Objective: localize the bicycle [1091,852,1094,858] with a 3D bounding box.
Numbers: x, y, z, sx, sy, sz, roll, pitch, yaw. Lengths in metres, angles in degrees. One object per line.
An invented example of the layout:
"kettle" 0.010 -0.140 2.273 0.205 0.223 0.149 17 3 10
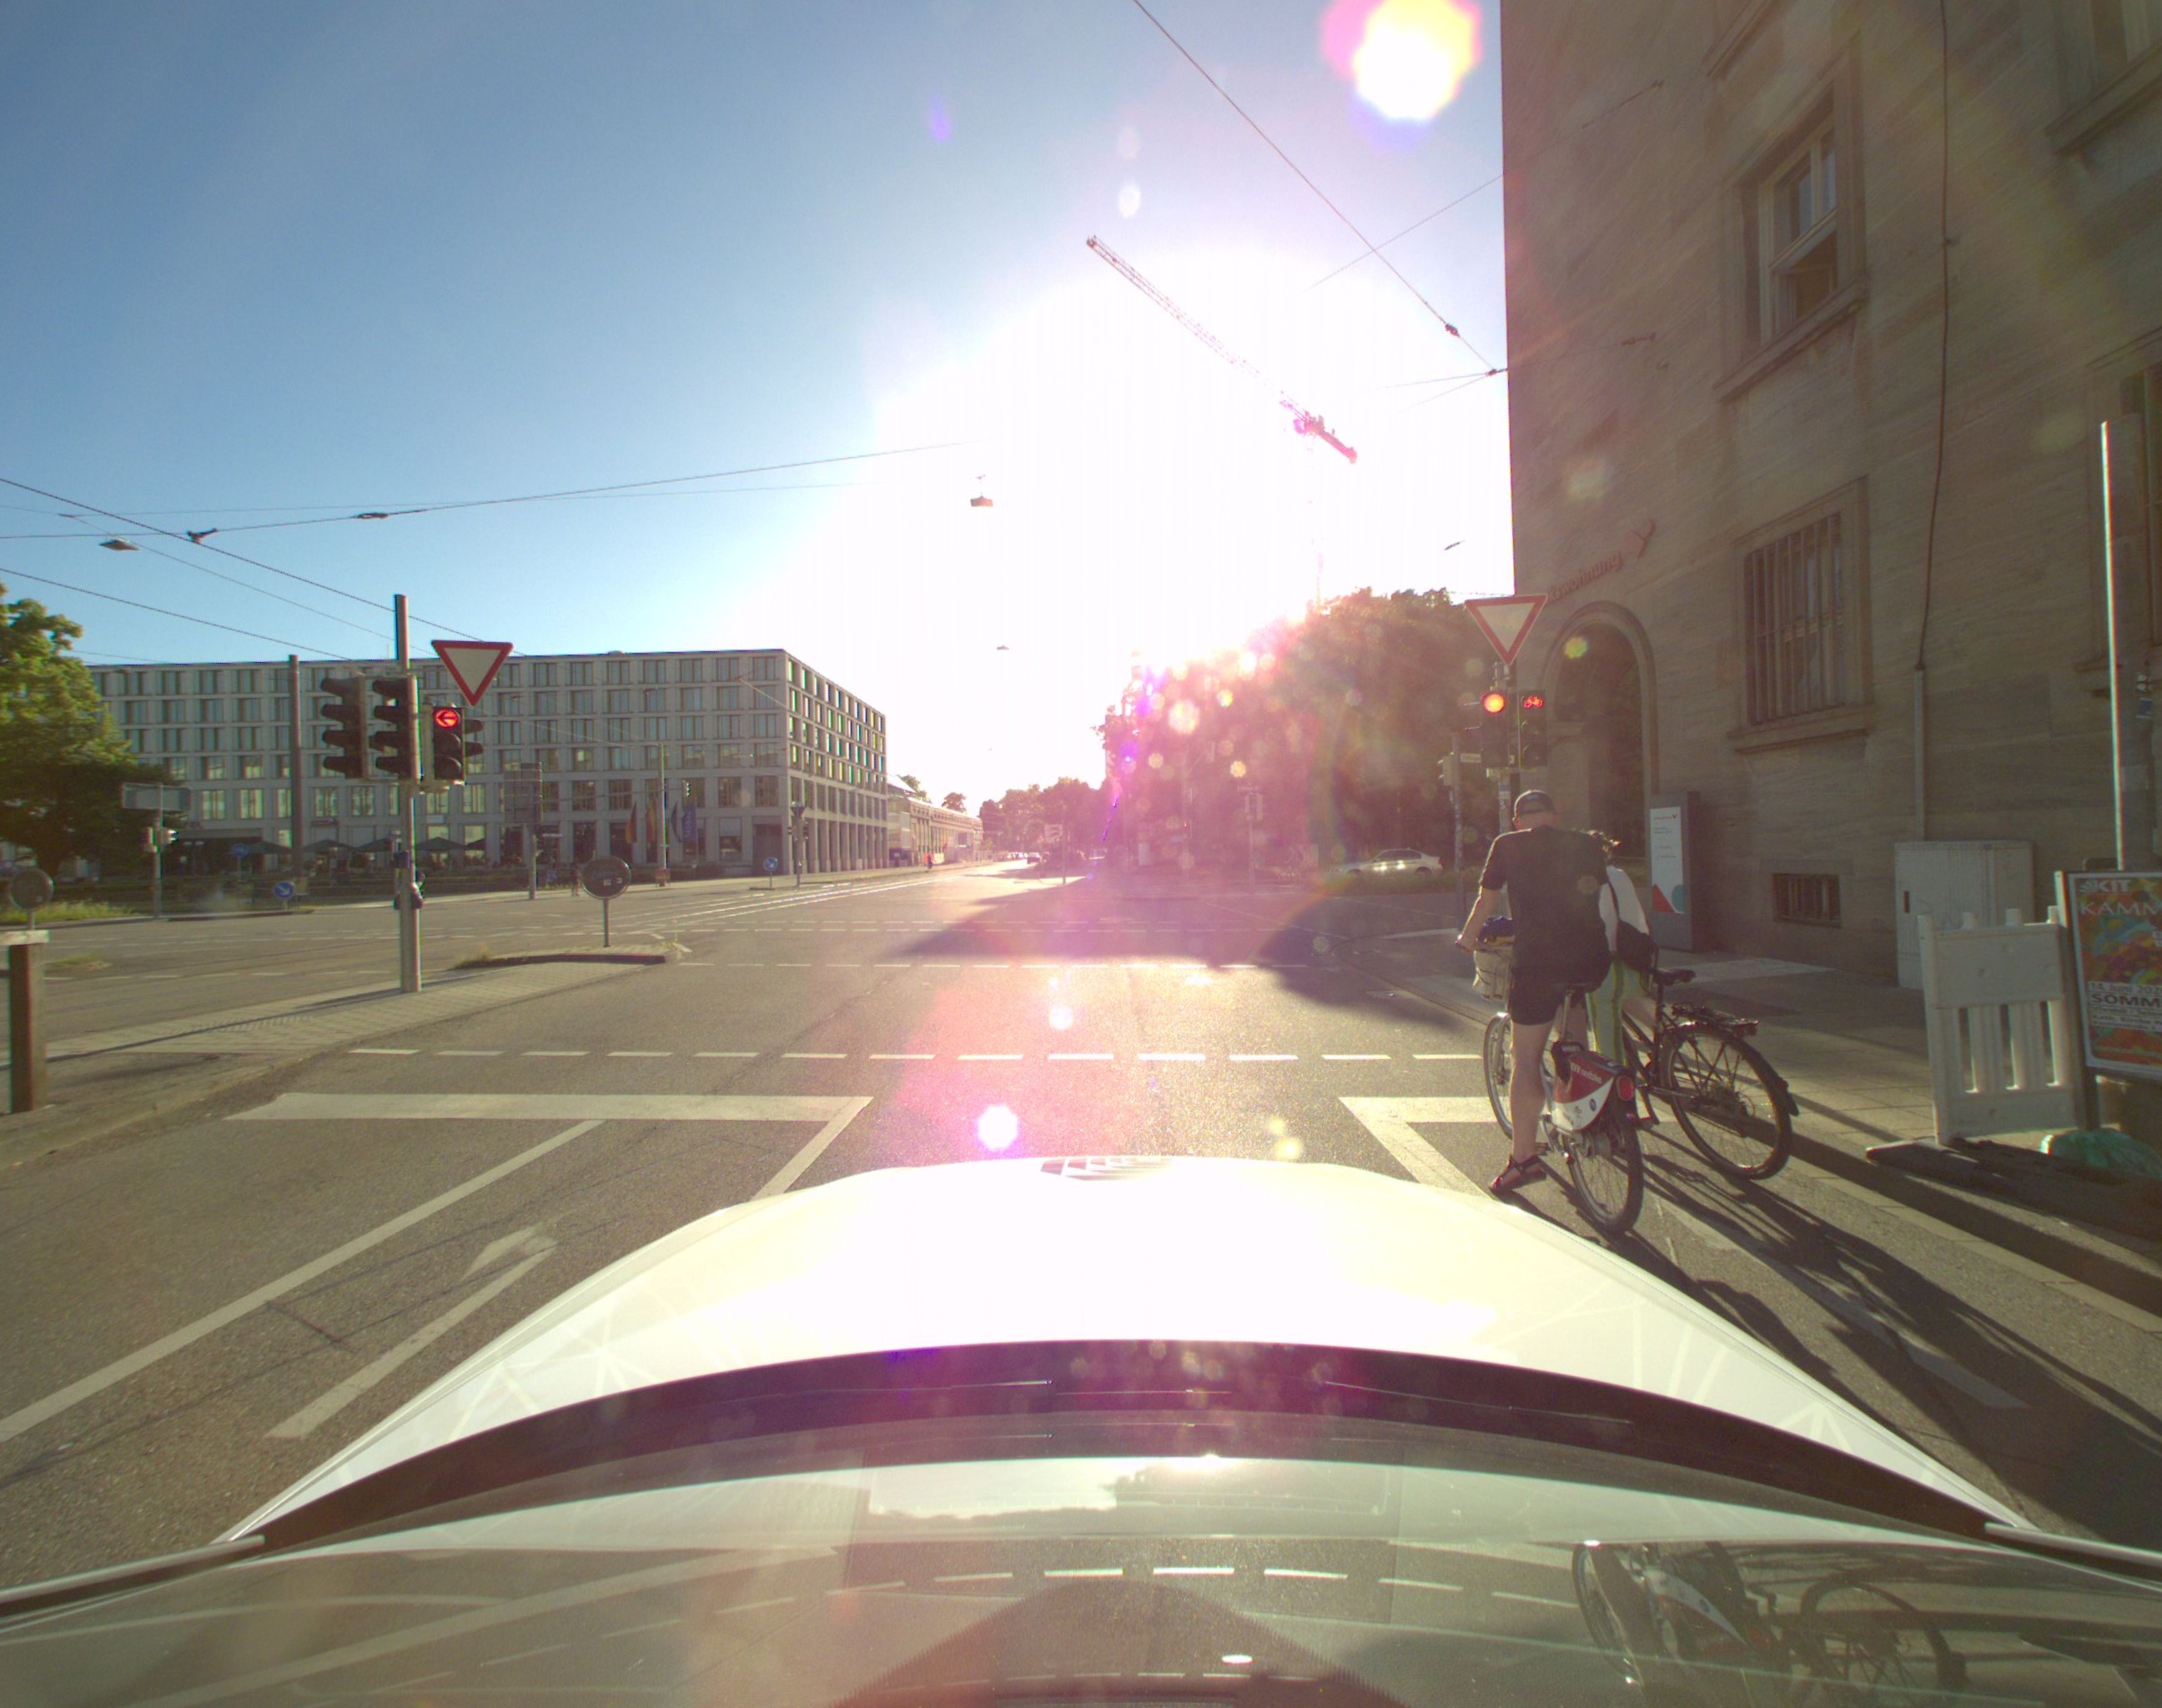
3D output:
"bicycle" 2.320 0.188 159.175 0.573 1.077 1.831 -2 0 1

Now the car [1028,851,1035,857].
"car" -13.390 0.023 220.857 1.688 1.718 4.245 0 -1 -1

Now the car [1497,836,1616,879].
"car" 19.220 0.144 33.019 3.835 1.611 1.650 -2 0 1

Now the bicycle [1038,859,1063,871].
"bicycle" -2.565 0.907 67.702 1.996 0.891 0.655 -4 -1 29

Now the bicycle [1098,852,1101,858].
"bicycle" 3.623 0.179 159.359 0.573 1.077 1.831 -2 0 1

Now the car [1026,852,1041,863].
"car" -6.496 0.523 111.663 1.654 1.455 4.432 -1 0 1

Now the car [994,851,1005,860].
"car" -15.656 0.264 157.071 1.688 1.718 4.245 0 -1 -1

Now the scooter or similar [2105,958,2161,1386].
"scooter or similar" 3.276 0.894 1.722 0.533 1.185 1.328 -2 0 1

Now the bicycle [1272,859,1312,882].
"bicycle" 9.391 0.751 36.241 1.657 0.963 0.535 -2 0 7

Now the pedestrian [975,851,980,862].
"pedestrian" -18.727 0.408 147.459 0.672 2.014 0.751 0 -1 -1

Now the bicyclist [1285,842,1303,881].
"bicyclist" 9.473 0.327 36.254 0.640 1.683 0.508 -2 0 7

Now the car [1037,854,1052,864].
"car" -6.187 0.818 138.594 1.882 1.565 4.815 1 0 6

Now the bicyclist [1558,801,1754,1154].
"bicyclist" 2.956 0.594 4.244 0.556 1.691 0.640 -1 0 0

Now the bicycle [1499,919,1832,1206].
"bicycle" 2.945 0.960 4.351 0.532 1.077 1.751 -1 0 1

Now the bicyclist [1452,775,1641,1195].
"bicyclist" 2.126 0.563 3.777 0.556 1.799 0.551 -1 0 3

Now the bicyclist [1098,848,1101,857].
"bicyclist" 3.609 -0.252 159.345 0.567 1.691 0.700 -2 0 1

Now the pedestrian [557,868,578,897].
"pedestrian" -28.712 1.586 45.544 0.776 1.589 0.588 -2 0 -15

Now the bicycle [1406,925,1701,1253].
"bicycle" 2.124 0.960 3.934 0.513 1.077 1.729 -1 0 4

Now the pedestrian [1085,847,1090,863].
"pedestrian" 0.780 0.110 97.888 0.462 1.813 0.502 -2 0 -3

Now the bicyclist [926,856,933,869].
"bicyclist" -15.609 0.860 83.992 0.594 1.377 0.637 0 -1 0

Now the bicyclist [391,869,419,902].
"bicyclist" -32.740 1.522 39.450 0.752 1.589 0.782 -2 0 25

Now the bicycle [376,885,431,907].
"bicycle" -32.723 2.006 39.384 0.753 0.935 1.874 -2 0 25

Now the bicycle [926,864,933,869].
"bicycle" -15.600 1.320 83.978 0.499 0.515 1.258 0 -1 1

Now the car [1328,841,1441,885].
"car" 12.351 0.353 33.253 3.979 1.611 1.650 -2 0 1

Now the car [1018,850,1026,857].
"car" -14.225 -0.119 195.321 1.688 1.718 4.245 0 -1 -1

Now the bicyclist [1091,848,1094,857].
"bicyclist" 2.297 -0.316 159.089 0.567 1.691 0.700 -2 0 1
